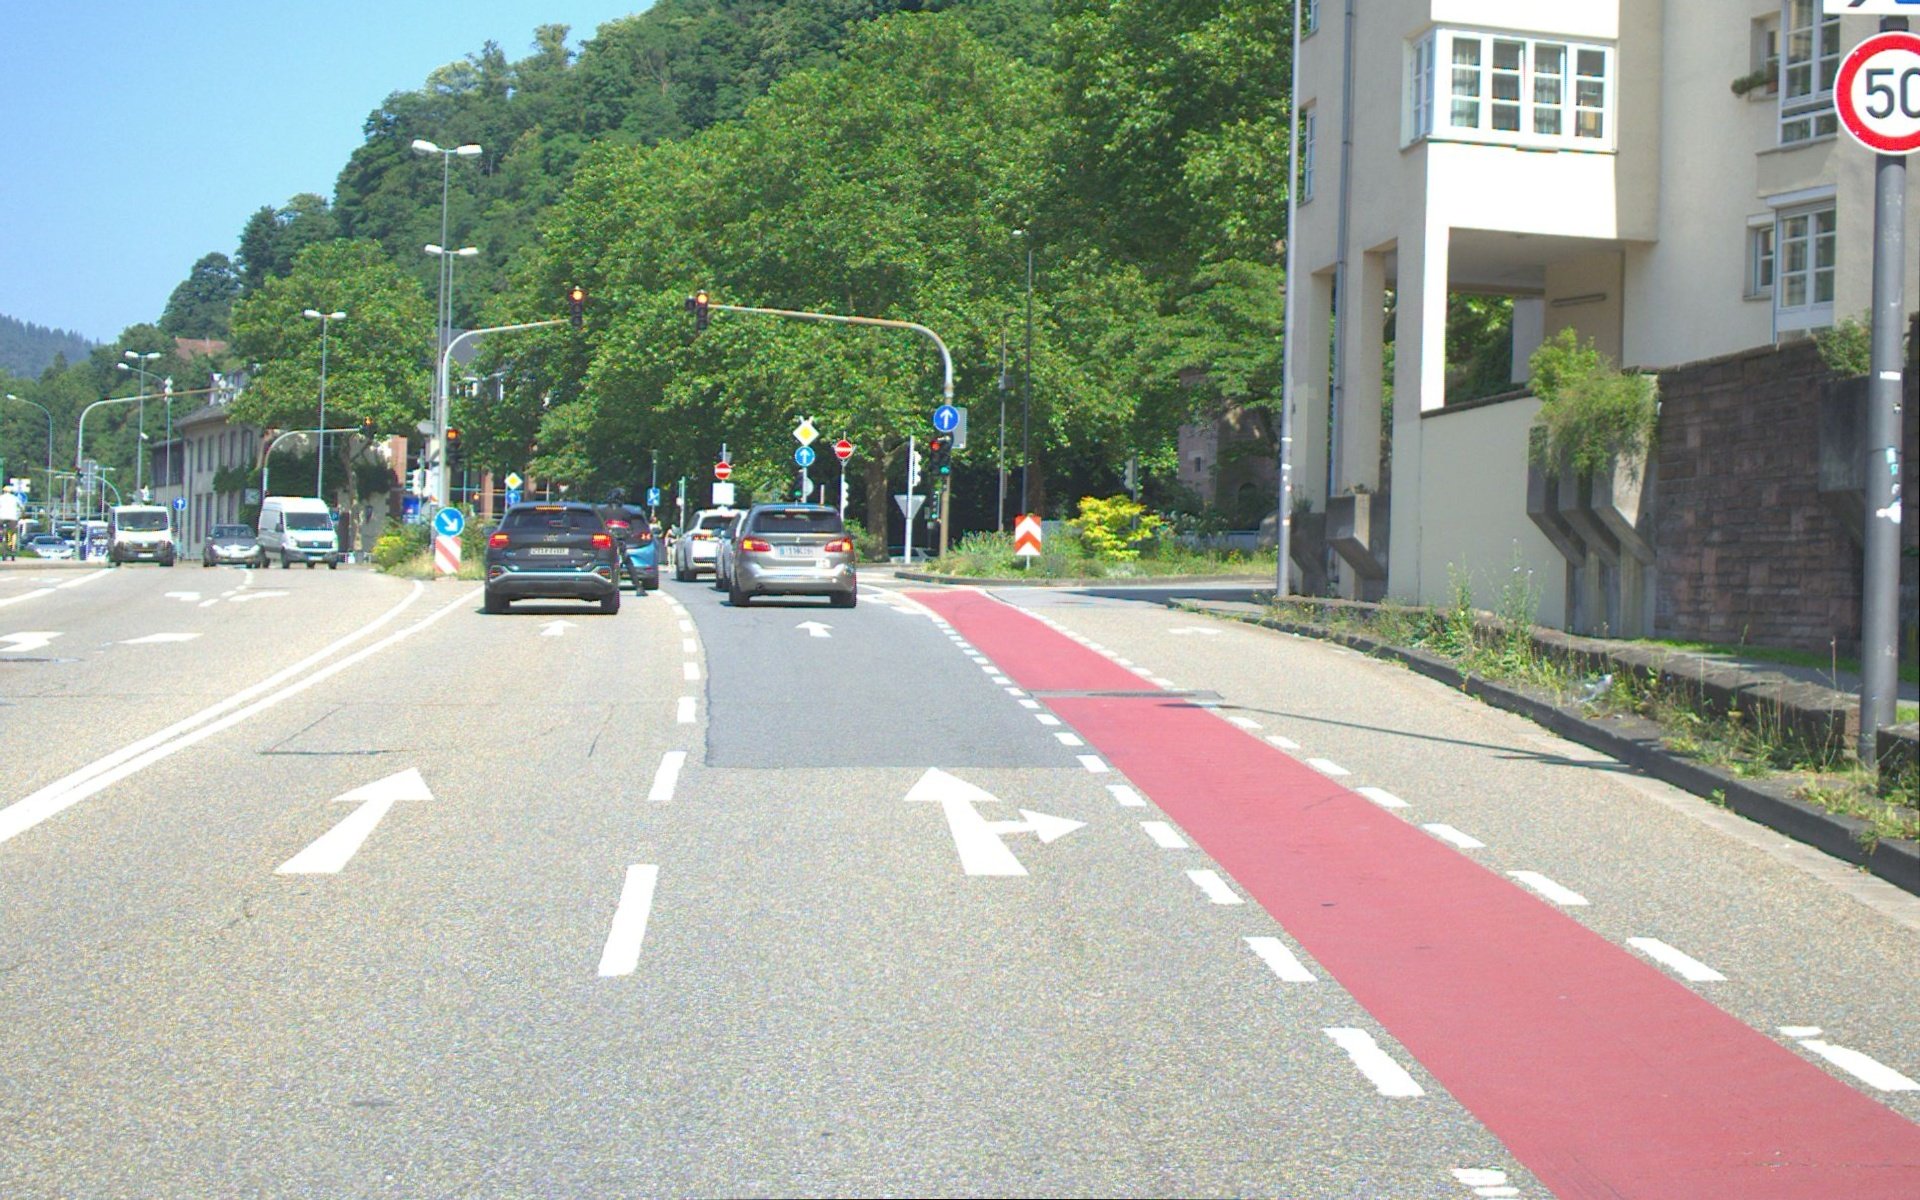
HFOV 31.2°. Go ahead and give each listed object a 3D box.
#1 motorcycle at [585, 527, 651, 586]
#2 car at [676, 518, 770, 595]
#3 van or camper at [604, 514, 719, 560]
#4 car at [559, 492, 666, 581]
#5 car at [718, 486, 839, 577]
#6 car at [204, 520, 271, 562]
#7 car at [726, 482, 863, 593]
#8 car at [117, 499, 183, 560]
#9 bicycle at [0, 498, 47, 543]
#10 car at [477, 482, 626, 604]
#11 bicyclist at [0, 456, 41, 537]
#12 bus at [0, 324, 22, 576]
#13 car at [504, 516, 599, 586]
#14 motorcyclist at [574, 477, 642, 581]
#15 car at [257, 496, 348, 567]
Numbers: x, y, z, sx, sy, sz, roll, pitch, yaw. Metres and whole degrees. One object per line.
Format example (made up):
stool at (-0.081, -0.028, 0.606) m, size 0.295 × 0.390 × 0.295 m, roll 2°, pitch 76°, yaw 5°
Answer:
motorcycle at (-5.628, -0.728, 56.713) m, size 1.037 × 0.916 × 2.606 m, roll 1°, pitch 2°, yaw -5°
car at (-4.907, -0.909, 70.816) m, size 1.785 × 1.527 × 4.738 m, roll 0°, pitch 1°, yaw -6°
van or camper at (-12.750, -2.710, 146.965) m, size 4.544 × 1.895 × 1.999 m, roll 1°, pitch 1°, yaw 12°
car at (-6.397, -1.181, 62.958) m, size 1.866 × 1.557 × 4.001 m, roll 1°, pitch 1°, yaw -7°
car at (-3.335, -1.246, 62.344) m, size 1.993 × 1.528 × 4.859 m, roll 2°, pitch 1°, yaw -5°
car at (-26.057, -2.124, 123.894) m, size 1.993 × 1.427 × 4.169 m, roll 0°, pitch 2°, yaw -17°
car at (-2.536, -0.933, 51.720) m, size 1.888 × 1.516 × 4.306 m, roll 2°, pitch 1°, yaw -4°
car at (-28.886, -2.539, 122.688) m, size 2.213 × 2.071 × 5.045 m, roll 0°, pitch 2°, yaw -12°
bicycle at (-23.652, -2.004, 86.657) m, size 1.212 × 1.086 × 2.599 m, roll 0°, pitch 2°, yaw -15°
car at (-5.558, -0.784, 46.931) m, size 1.869 × 1.508 × 4.152 m, roll 2°, pitch 1°, yaw -6°
bicyclist at (-23.799, -2.611, 86.673) m, size 1.212 × 2.006 × 1.119 m, roll 0°, pitch 2°, yaw -15°
bus at (-14.587, -2.049, 44.710) m, size 2.956 × 3.787 × 13.248 m, roll 5°, pitch 1°, yaw -10°
car at (-8.376, -1.016, 70.493) m, size 1.866 × 1.354 × 4.001 m, roll 1°, pitch 1°, yaw -7°
motorcyclist at (-5.789, -1.176, 56.526) m, size 1.075 × 1.678 × 1.156 m, roll 1°, pitch 1°, yaw -5°
car at (-24.666, -2.573, 128.823) m, size 2.383 × 2.567 × 6.057 m, roll 0°, pitch 1°, yaw -20°
